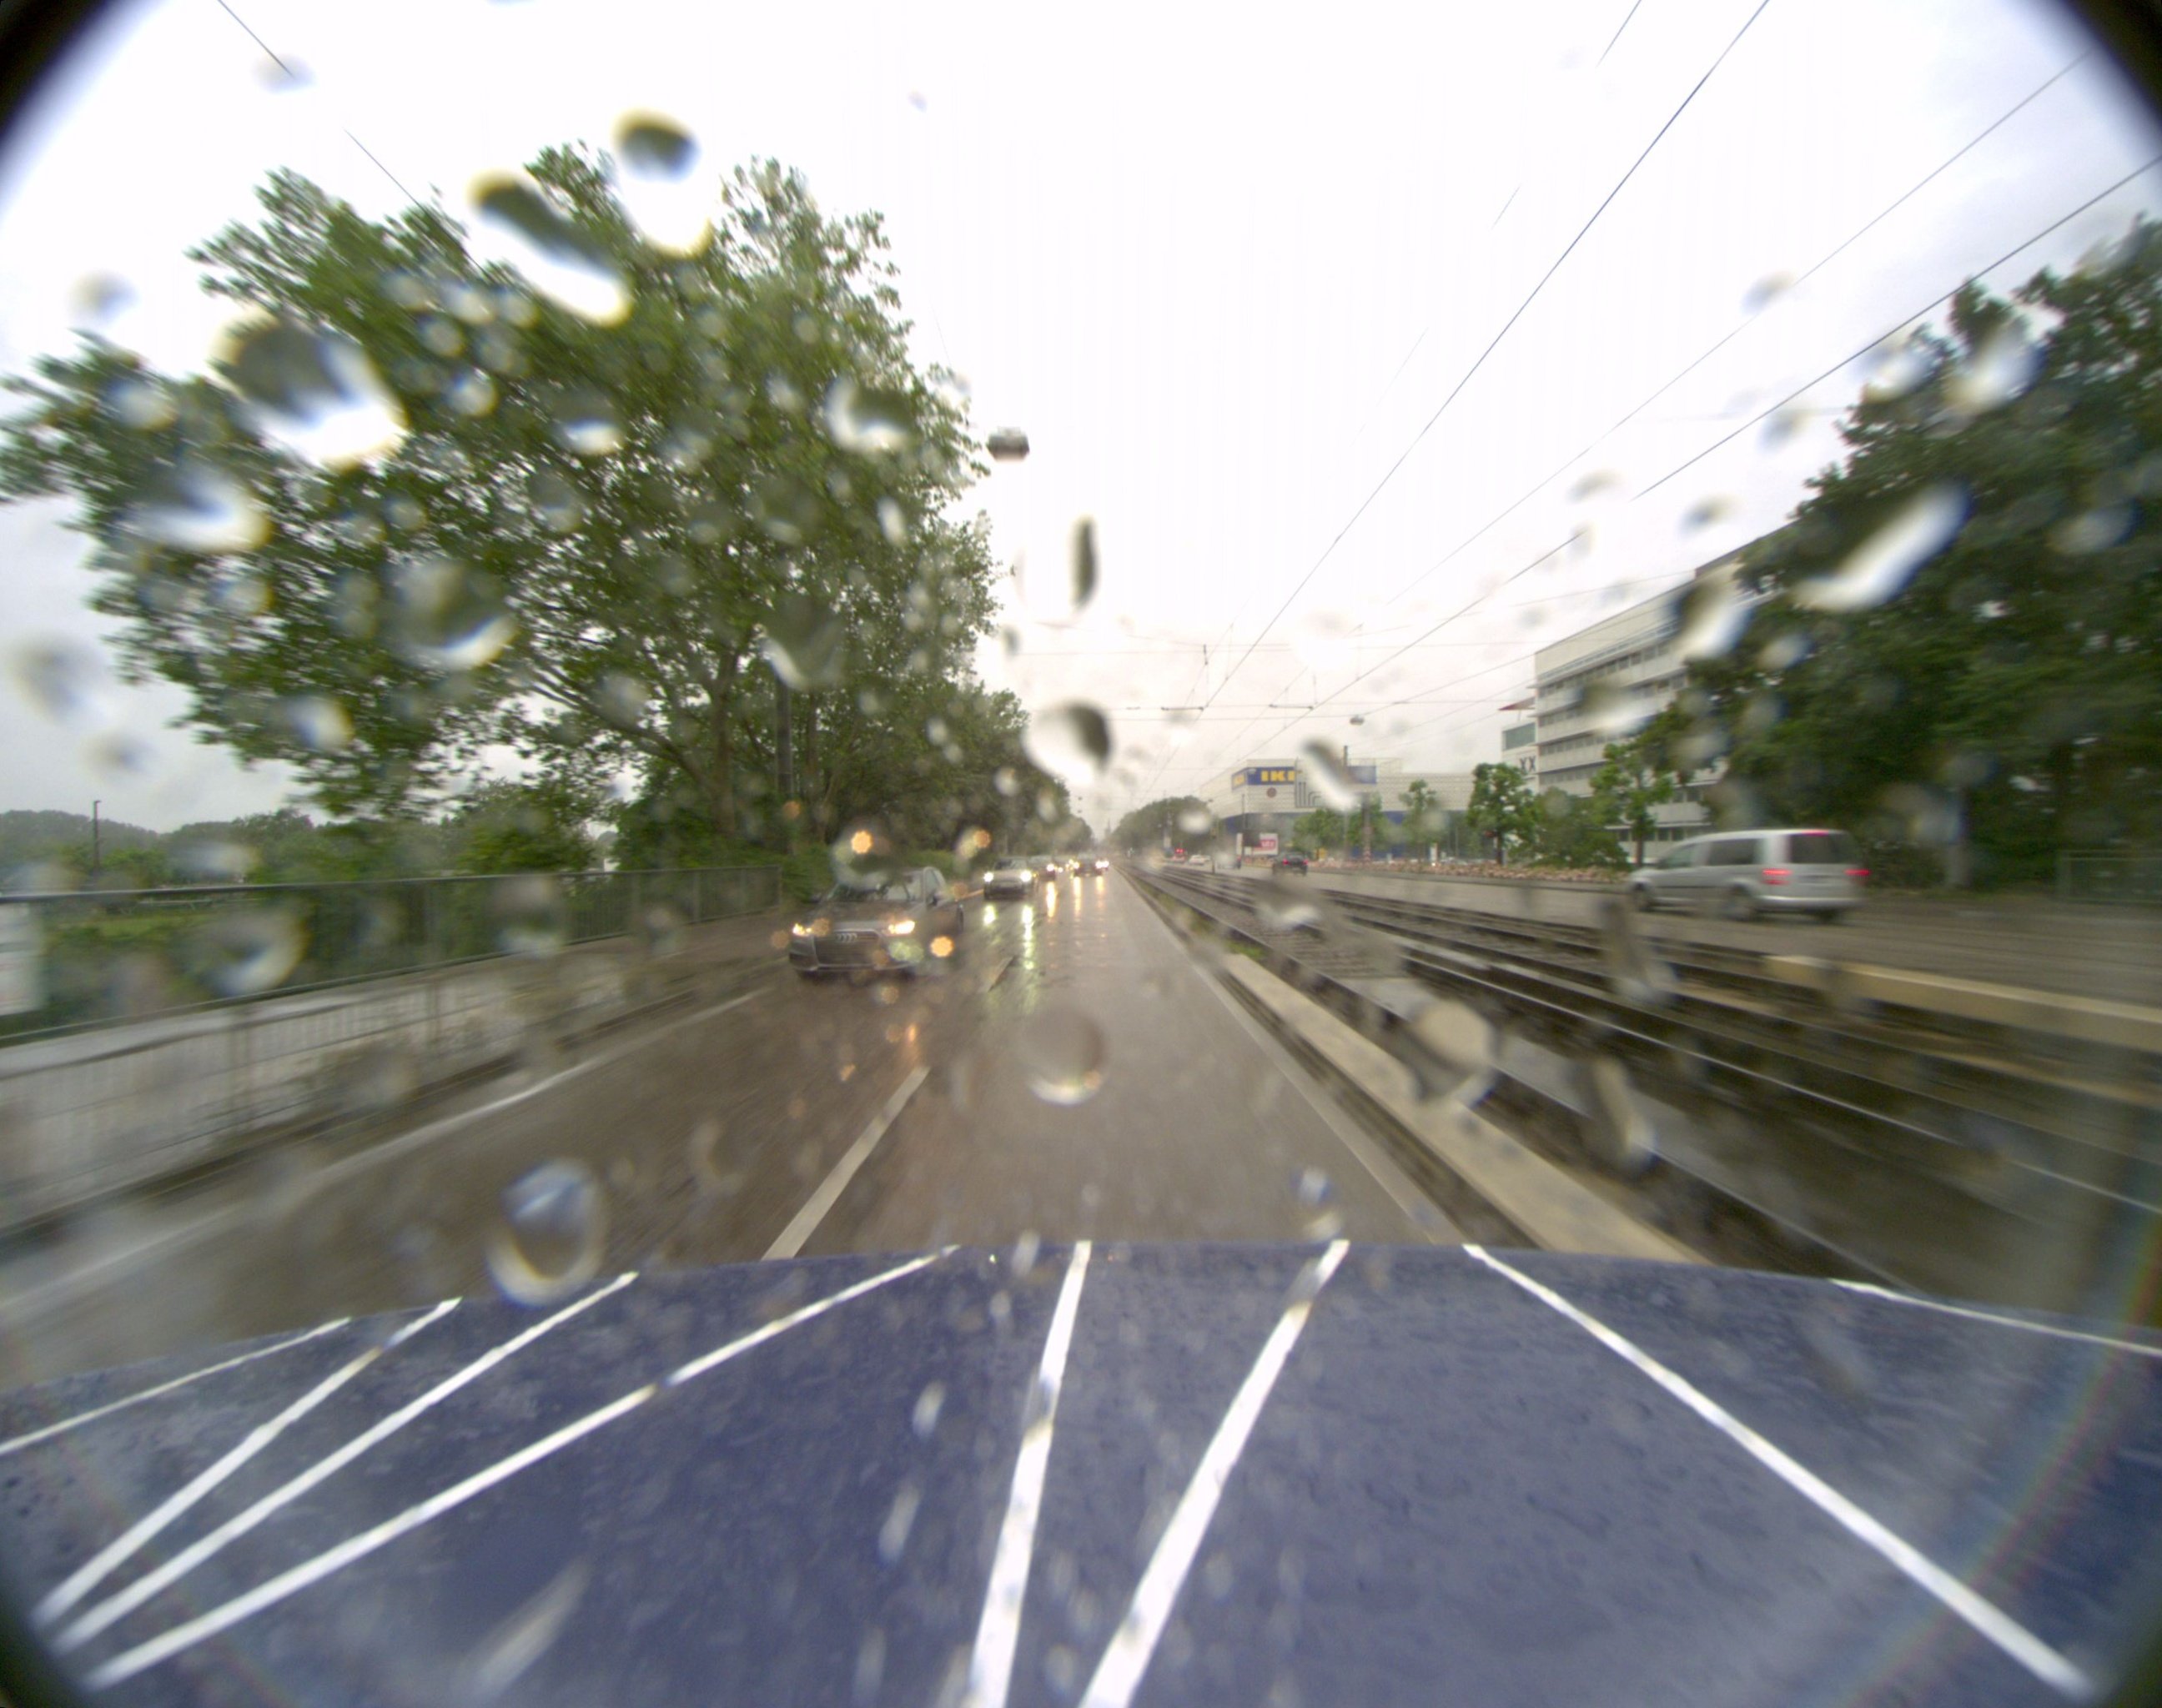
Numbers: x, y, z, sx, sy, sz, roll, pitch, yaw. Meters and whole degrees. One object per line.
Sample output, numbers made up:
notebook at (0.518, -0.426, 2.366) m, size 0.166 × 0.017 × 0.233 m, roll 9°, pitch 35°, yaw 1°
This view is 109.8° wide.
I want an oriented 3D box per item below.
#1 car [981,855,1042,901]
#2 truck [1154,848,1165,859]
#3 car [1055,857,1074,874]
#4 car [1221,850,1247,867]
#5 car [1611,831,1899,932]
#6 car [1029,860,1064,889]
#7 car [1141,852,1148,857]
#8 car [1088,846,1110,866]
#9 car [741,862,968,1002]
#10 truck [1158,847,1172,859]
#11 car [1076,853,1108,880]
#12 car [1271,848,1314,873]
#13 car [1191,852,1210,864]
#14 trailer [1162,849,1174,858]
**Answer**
car at (-2.395, 0.793, 27.114) m, size 1.796 × 1.406 × 3.853 m, roll -2°, pitch 1°, yaw -1°
truck at (19.486, -0.138, 188.889) m, size 2.232 × 2.447 × 6.067 m, roll 1°, pitch 0°, yaw 2°
car at (-1.596, 1.125, 74.350) m, size 1.715 × 1.476 × 4.043 m, roll -3°, pitch -1°, yaw 1°
car at (15.504, 0.456, 77.153) m, size 1.776 × 1.673 × 4.689 m, roll 0°, pitch 0°, yaw 0°
car at (13.828, 0.488, 16.088) m, size 1.998 × 1.805 × 4.659 m, roll -1°, pitch 0°, yaw 1°
car at (-1.884, 1.121, 42.746) m, size 1.776 × 1.453 × 4.092 m, roll -3°, pitch -1°, yaw -1°
car at (19.074, 0.112, 229.097) m, size 1.823 × 1.613 × 4.536 m, roll -1°, pitch 0°, yaw 1°
car at (1.468, 0.172, 63.743) m, size 1.715 × 1.515 × 4.043 m, roll -3°, pitch -1°, yaw 1°
car at (-2.875, 0.912, 10.653) m, size 1.973 × 1.519 × 3.991 m, roll -2°, pitch 0°, yaw -1°
truck at (17.676, -0.255, 159.820) m, size 2.441 × 2.443 × 7.219 m, roll 0°, pitch 0°, yaw 2°
car at (0.663, 0.807, 48.643) m, size 1.876 × 1.573 × 4.043 m, roll -3°, pitch -1°, yaw 0°
car at (14.642, 0.416, 52.790) m, size 1.998 × 1.608 × 4.254 m, roll -1°, pitch 0°, yaw 3°
car at (16.162, 0.581, 102.991) m, size 1.998 × 1.574 × 4.767 m, roll 0°, pitch 0°, yaw 2°
trailer at (17.632, -0.065, 154.121) m, size 2.124 × 1.782 × 3.836 m, roll -3°, pitch 0°, yaw 2°
